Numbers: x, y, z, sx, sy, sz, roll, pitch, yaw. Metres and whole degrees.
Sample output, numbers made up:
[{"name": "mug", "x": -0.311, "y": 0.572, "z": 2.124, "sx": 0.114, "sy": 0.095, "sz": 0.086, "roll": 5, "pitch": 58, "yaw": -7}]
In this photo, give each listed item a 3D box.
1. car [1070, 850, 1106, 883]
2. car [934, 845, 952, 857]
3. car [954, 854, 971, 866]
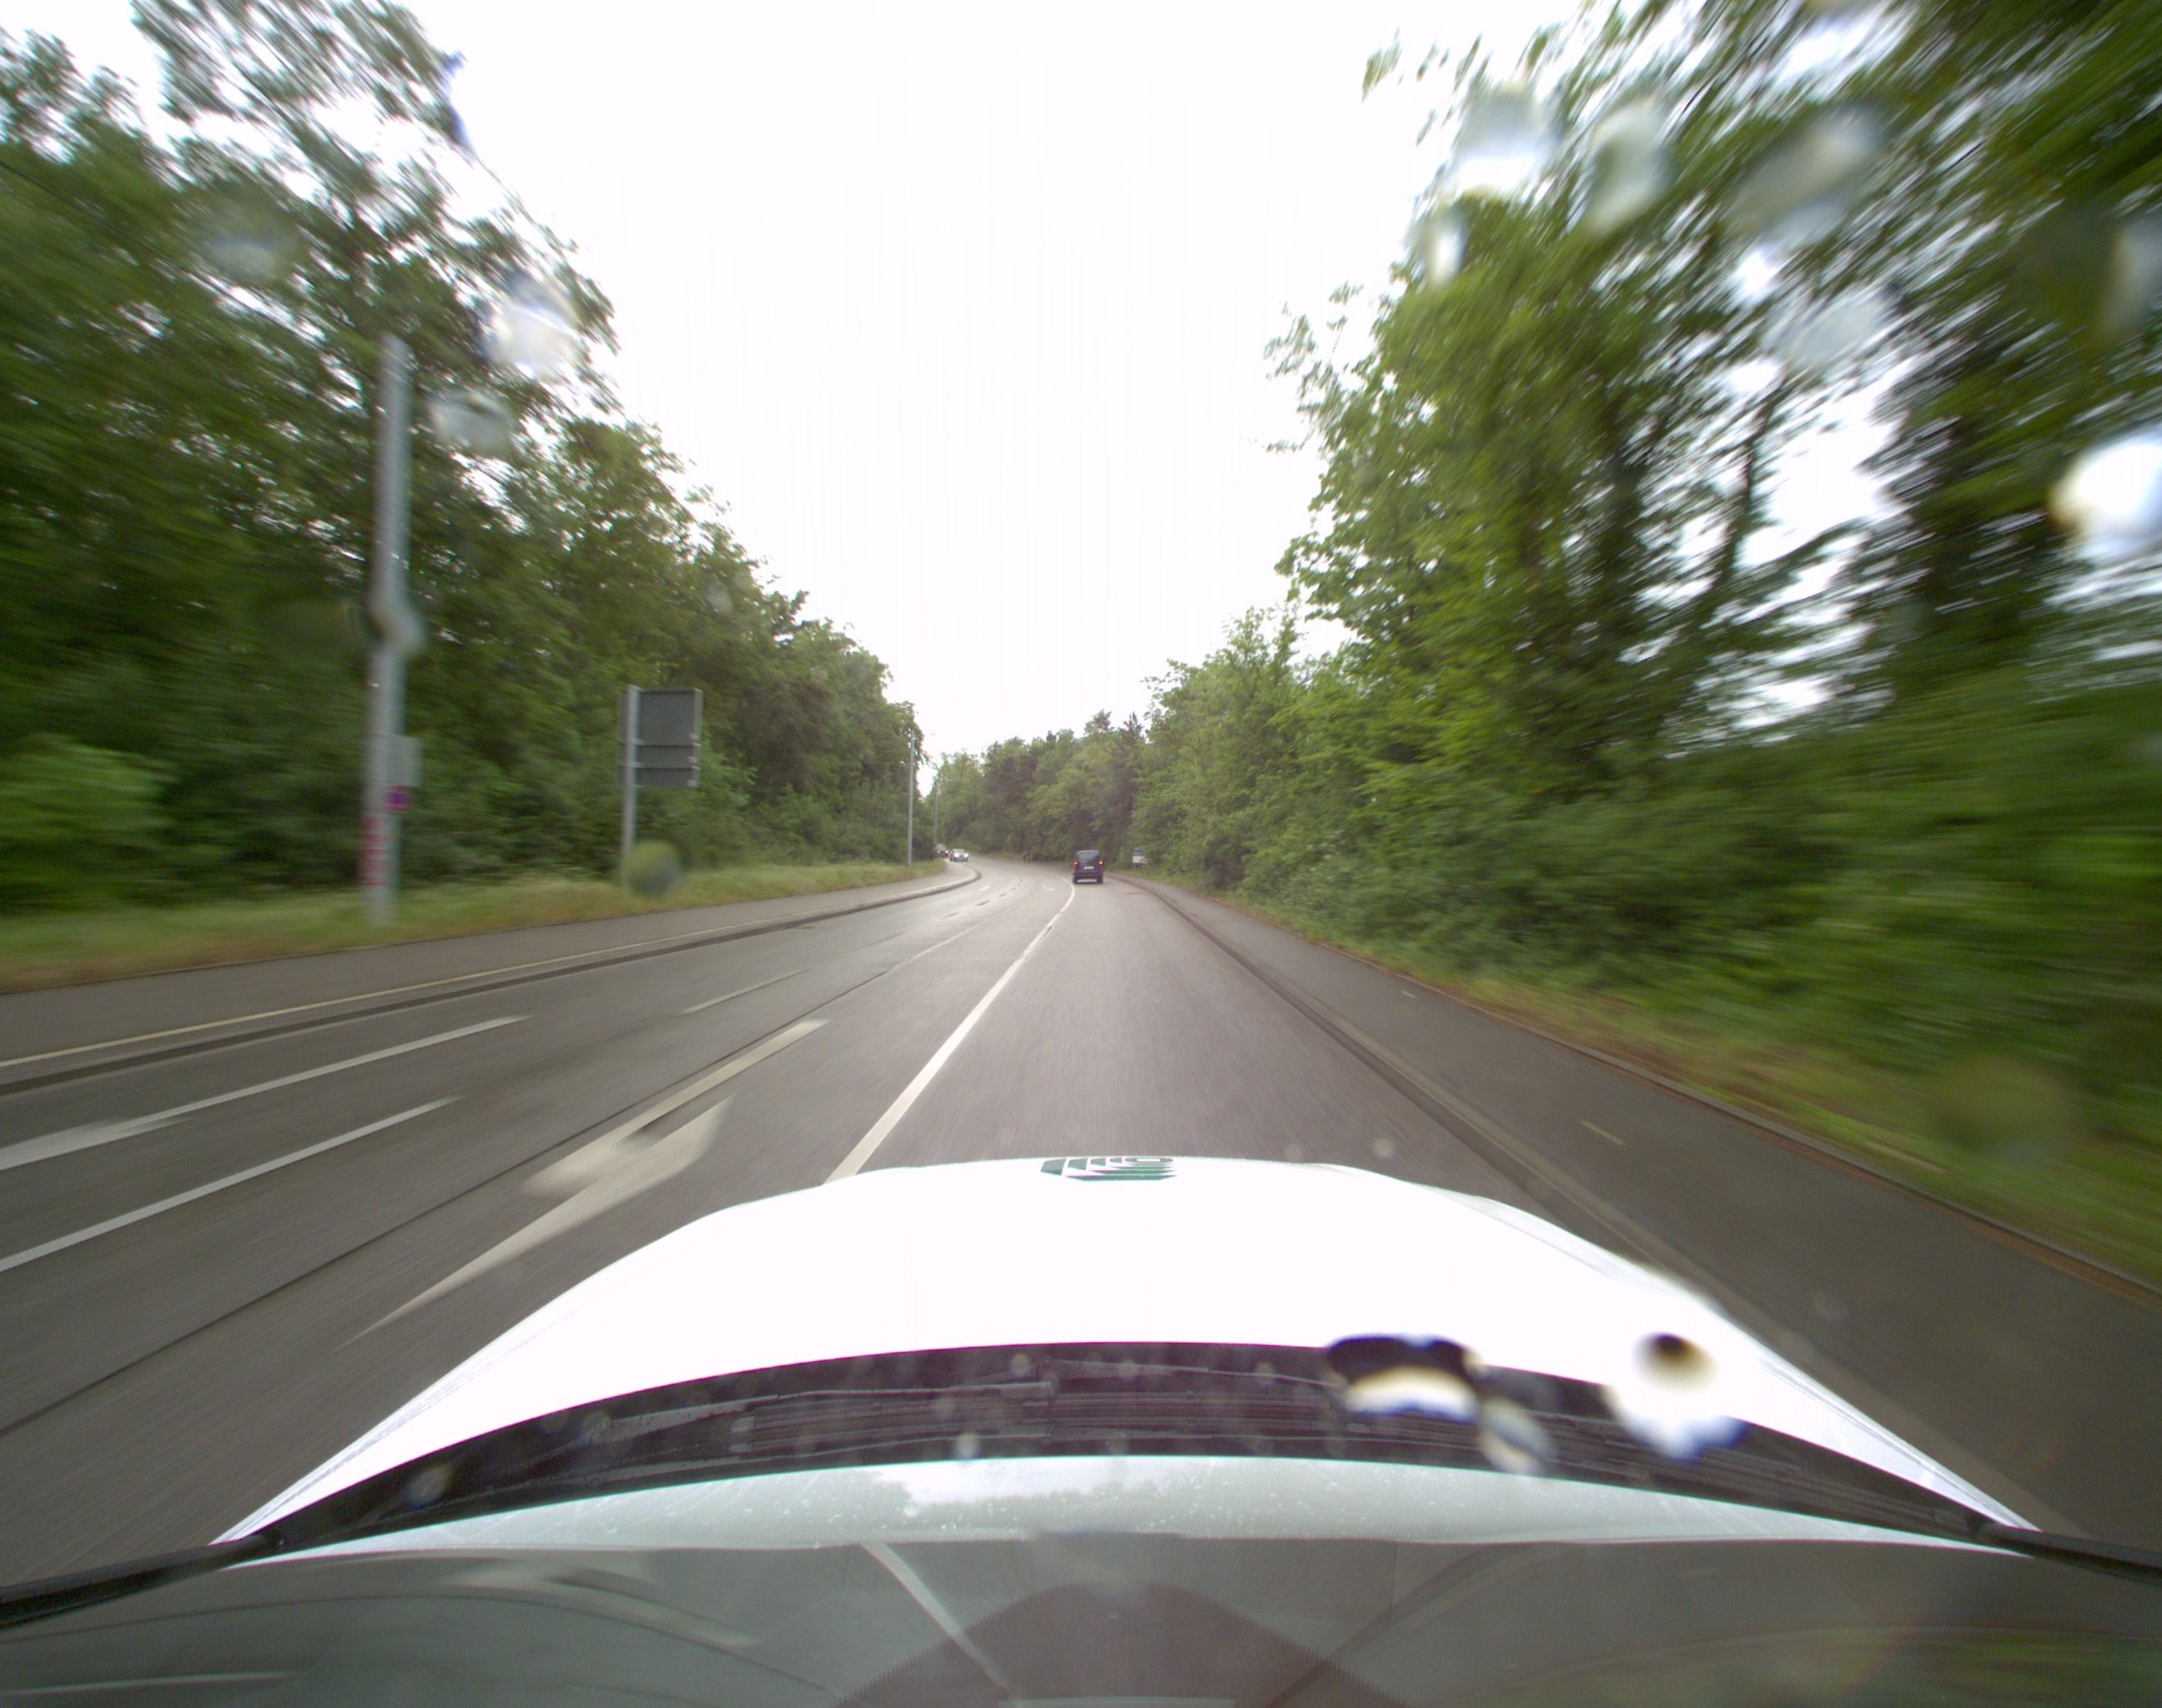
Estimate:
[{"name": "car", "x": 0.342, "y": 0.669, "z": 46.818, "sx": 1.823, "sy": 1.794, "sz": 3.996, "roll": -1, "pitch": 0, "yaw": -3}, {"name": "car", "x": -21.213, "y": -0.391, "z": 124.943, "sx": 1.833, "sy": 1.843, "sz": 4.678, "roll": 0, "pitch": 0, "yaw": -20}, {"name": "car", "x": -16.381, "y": 0.754, "z": 112.060, "sx": 1.811, "sy": 1.595, "sz": 4.495, "roll": 0, "pitch": 0, "yaw": -15}]
